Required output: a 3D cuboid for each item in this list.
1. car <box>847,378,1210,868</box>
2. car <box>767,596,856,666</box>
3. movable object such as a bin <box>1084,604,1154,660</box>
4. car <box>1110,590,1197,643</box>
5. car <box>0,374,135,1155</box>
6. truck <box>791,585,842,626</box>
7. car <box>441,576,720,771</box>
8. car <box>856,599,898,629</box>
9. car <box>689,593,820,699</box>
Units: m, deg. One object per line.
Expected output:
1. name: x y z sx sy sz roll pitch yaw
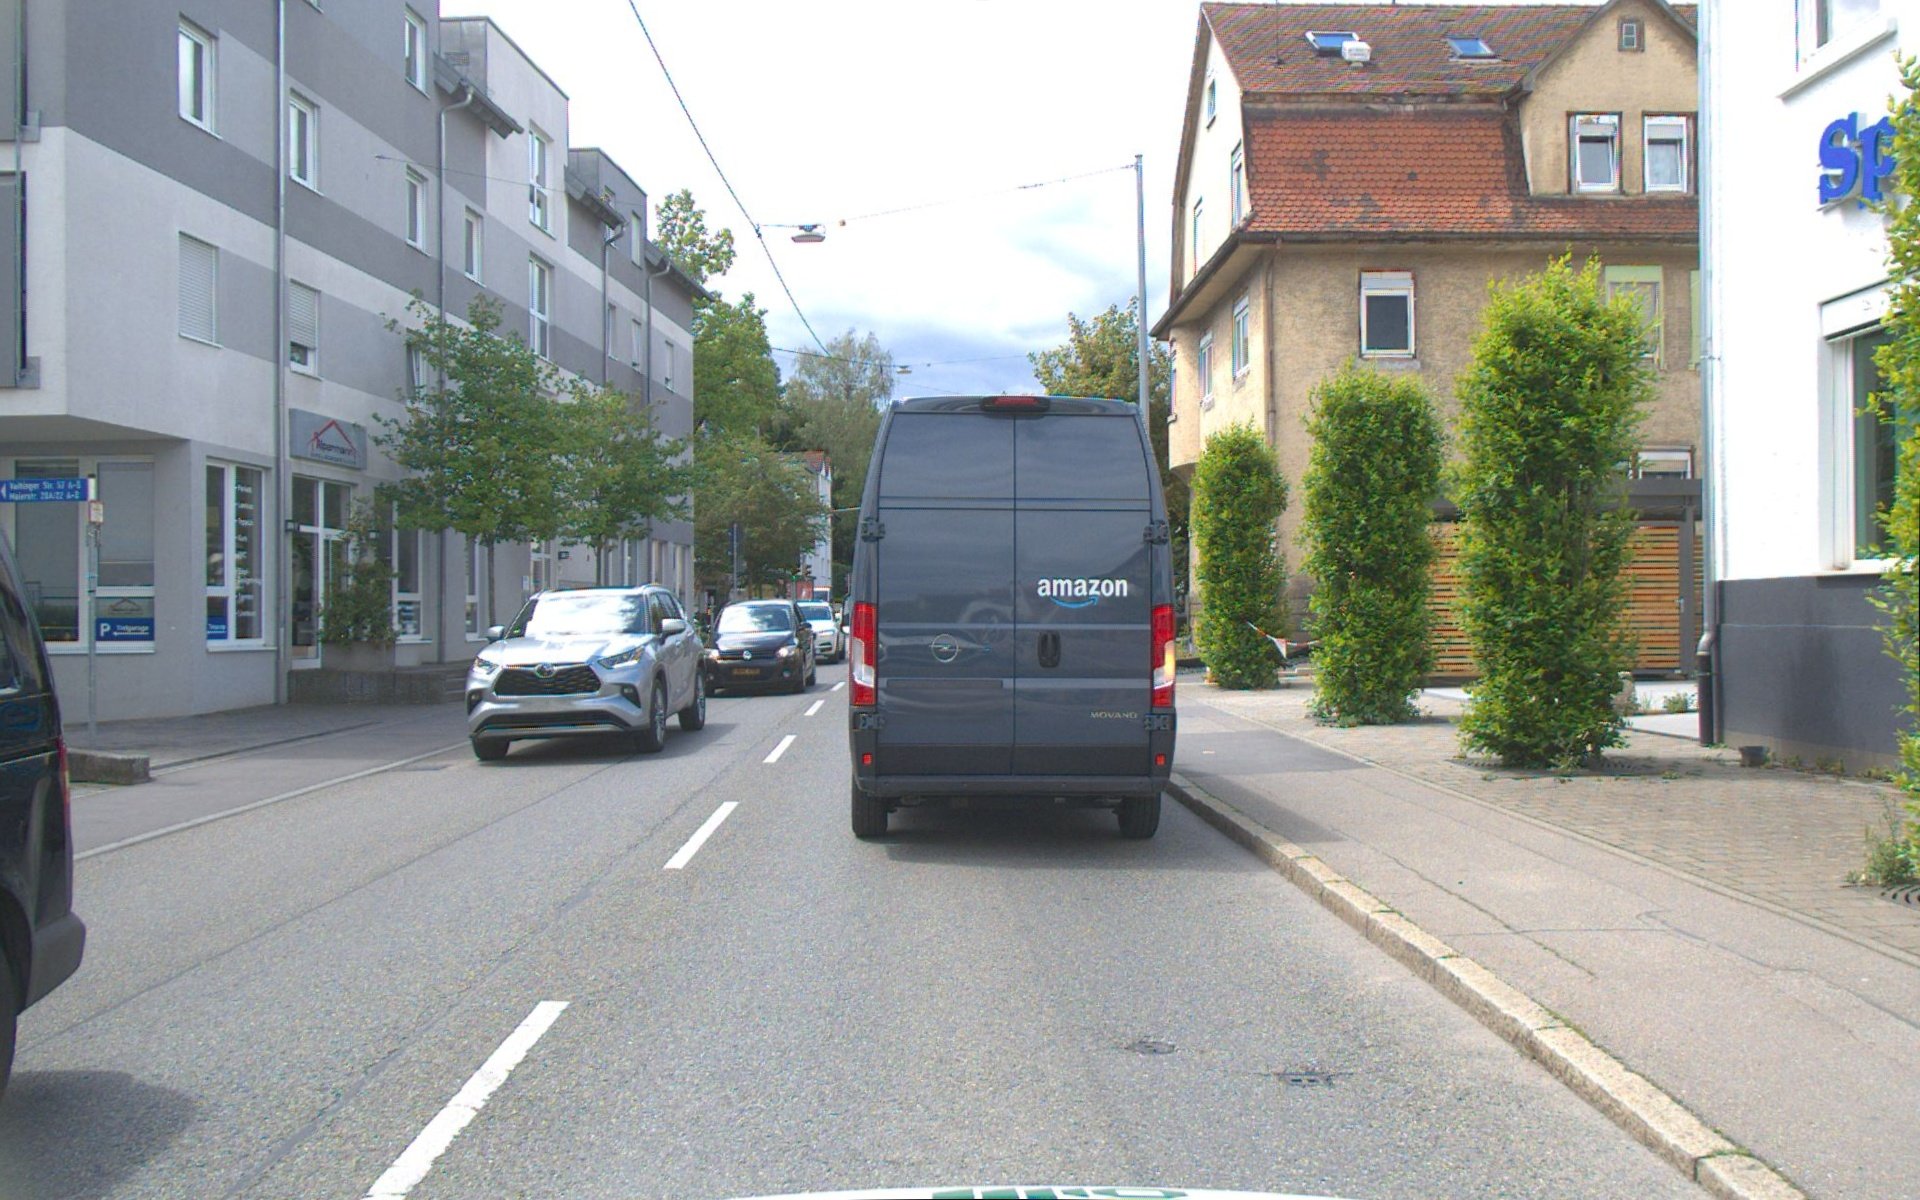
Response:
1. car: 0.266 0.134 12.704 2.105 2.819 6.246 0 0 -3
2. car: -3.741 0.739 42.315 1.859 1.587 4.799 -3 0 -1
3. movable object such as a bin: 3.729 0.744 38.788 1.170 1.288 1.197 0 0 -31
4. car: 6.695 0.544 57.016 1.717 1.543 4.077 -4 0 25
5. car: -3.662 0.478 2.941 2.069 2.189 4.880 -2 0 -3
6. truck: -8.706 0.368 100.785 2.178 2.421 6.328 0 -1 4
7. car: -3.997 0.718 18.298 1.946 1.768 4.795 -3 0 -1
8. car: -4.114 0.700 82.217 1.835 1.449 4.115 0 0 1
9. car: -3.430 0.732 28.230 1.795 1.612 4.036 -2 0 -2
